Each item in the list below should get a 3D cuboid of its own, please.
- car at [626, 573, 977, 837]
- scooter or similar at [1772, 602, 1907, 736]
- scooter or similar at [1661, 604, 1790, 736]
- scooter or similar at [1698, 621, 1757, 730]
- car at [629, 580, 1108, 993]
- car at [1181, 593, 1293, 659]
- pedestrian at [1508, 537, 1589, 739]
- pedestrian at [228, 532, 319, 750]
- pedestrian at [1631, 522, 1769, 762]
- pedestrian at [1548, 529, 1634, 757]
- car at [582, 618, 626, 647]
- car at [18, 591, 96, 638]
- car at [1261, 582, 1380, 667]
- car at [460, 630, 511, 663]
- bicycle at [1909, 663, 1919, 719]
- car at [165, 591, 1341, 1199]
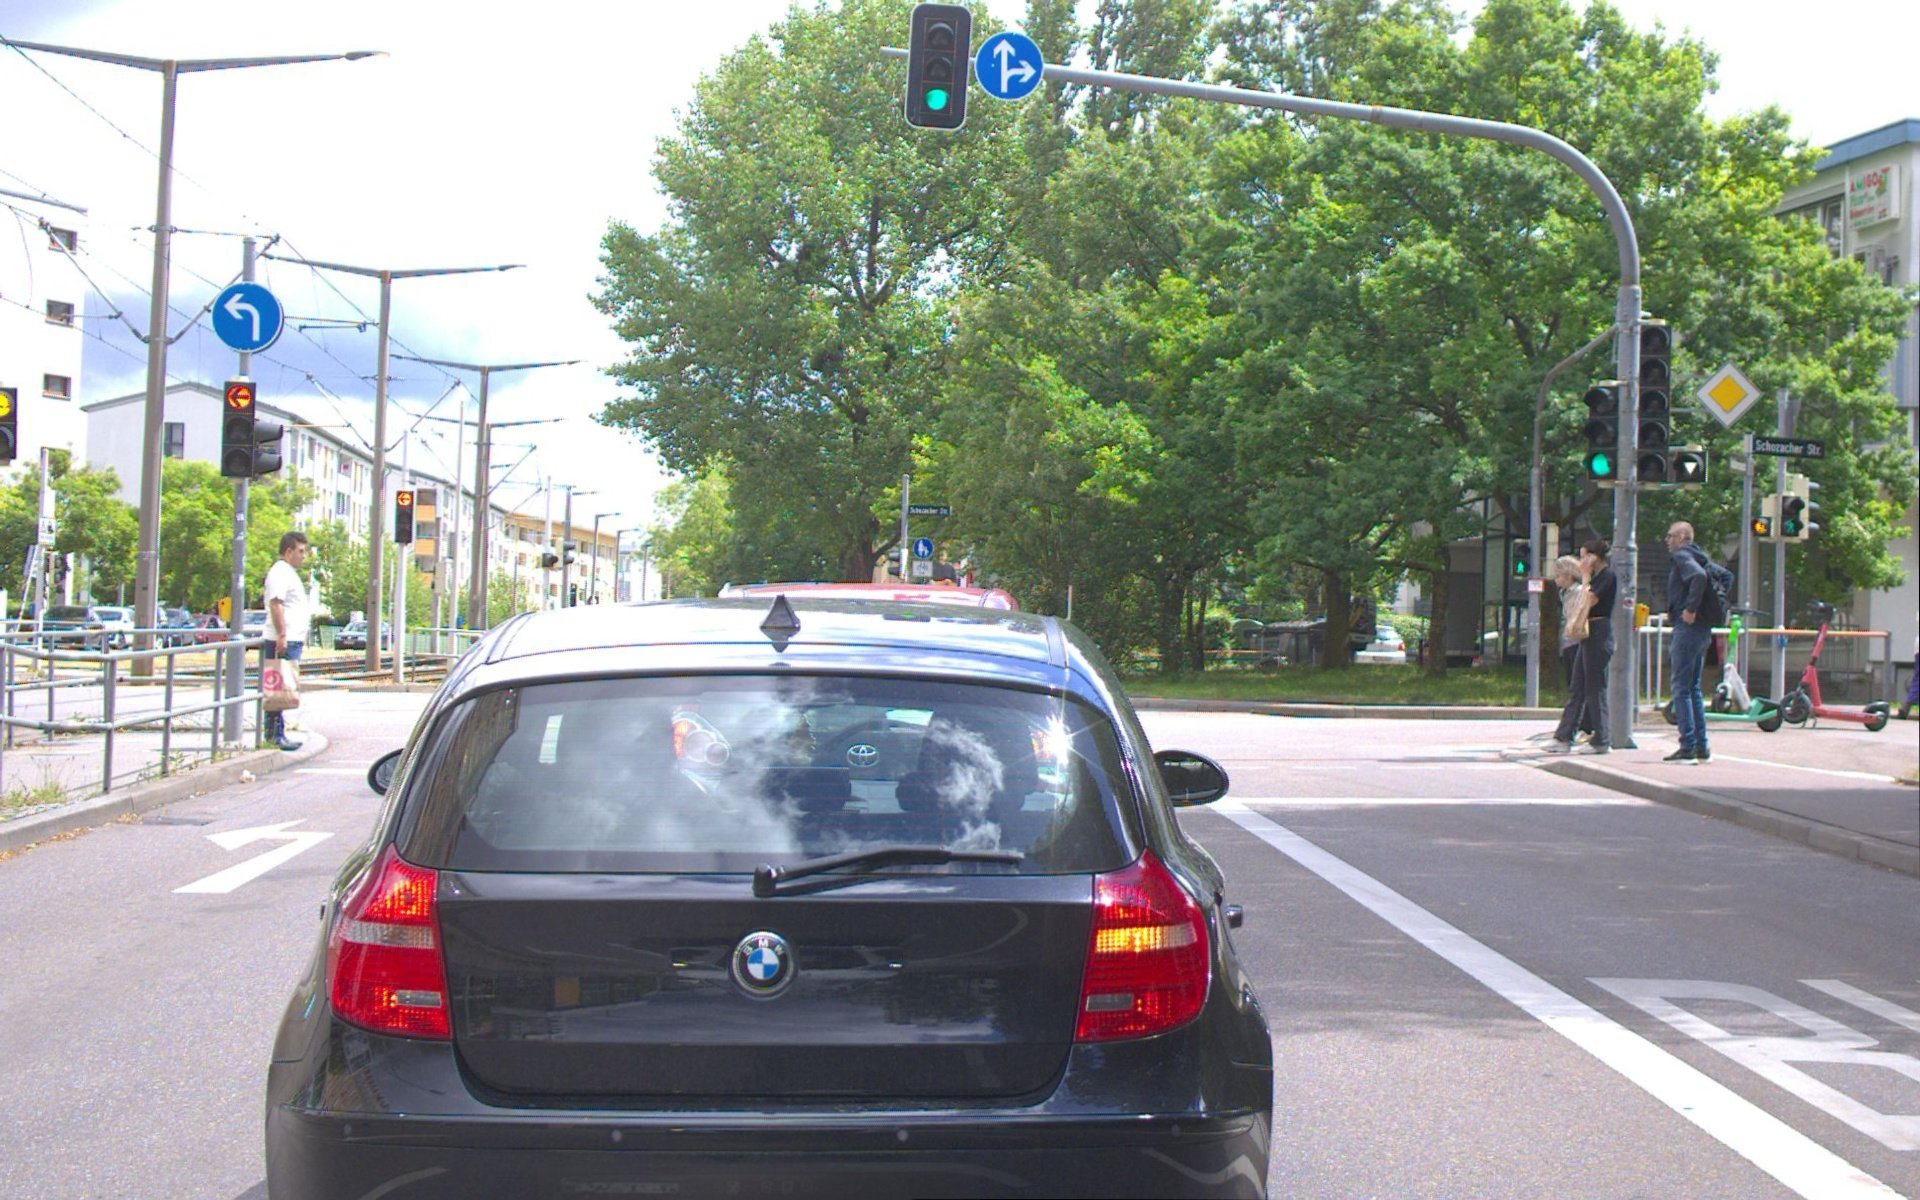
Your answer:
[{"bbox_3d":[-0.895,0.557,21.095,1.900,1.417,4.539,1,0,-1],"label":"car"},{"bbox_3d":[8.663,0.672,33.896,1.150,1.268,0.555,2,0,2],"label":"scooter or similar"},{"bbox_3d":[7.350,0.664,33.038,1.110,1.231,0.539,1,0,2],"label":"scooter or similar"},{"bbox_3d":[7.795,0.755,34.893,0.548,1.060,1.261,1,0,13],"label":"scooter or similar"},{"bbox_3d":[-0.337,0.637,13.626,1.638,1.395,3.420,1,0,-1],"label":"car"},{"bbox_3d":[7.283,0.661,90.676,1.862,1.656,4.001,1,0,-11],"label":"car"},{"bbox_3d":[5.211,0.331,30.461,0.636,1.760,0.518,1,0,6],"label":"pedestrian"},{"bbox_3d":[-5.515,0.329,27.643,0.687,1.728,0.688,0,0,-10],"label":"pedestrian"},{"bbox_3d":[5.891,0.325,27.404,1.010,1.870,0.797,1,0,9],"label":"pedestrian"},{"bbox_3d":[5.254,0.349,28.642,0.636,1.870,0.518,1,0,6],"label":"pedestrian"},{"bbox_3d":[-19.355,1.759,187.055,1.651,1.529,3.871,1,0,5],"label":"car"},{"bbox_3d":[-29.379,0.464,111.916,1.591,1.469,3.775,1,0,-2],"label":"car"},{"bbox_3d":[8.318,0.546,79.644,1.726,1.865,4.001,1,0,-9],"label":"car"},{"bbox_3d":[-23.278,2.288,168.705,1.651,1.529,3.871,1,0,5],"label":"car"},{"bbox_3d":[10.779,1.009,37.158,0.532,0.608,1.591,2,0,-2],"label":"bicycle"},{"bbox_3d":[-0.325,0.704,6.722,1.700,1.395,3.420,1,0,-1],"label":"car"}]
